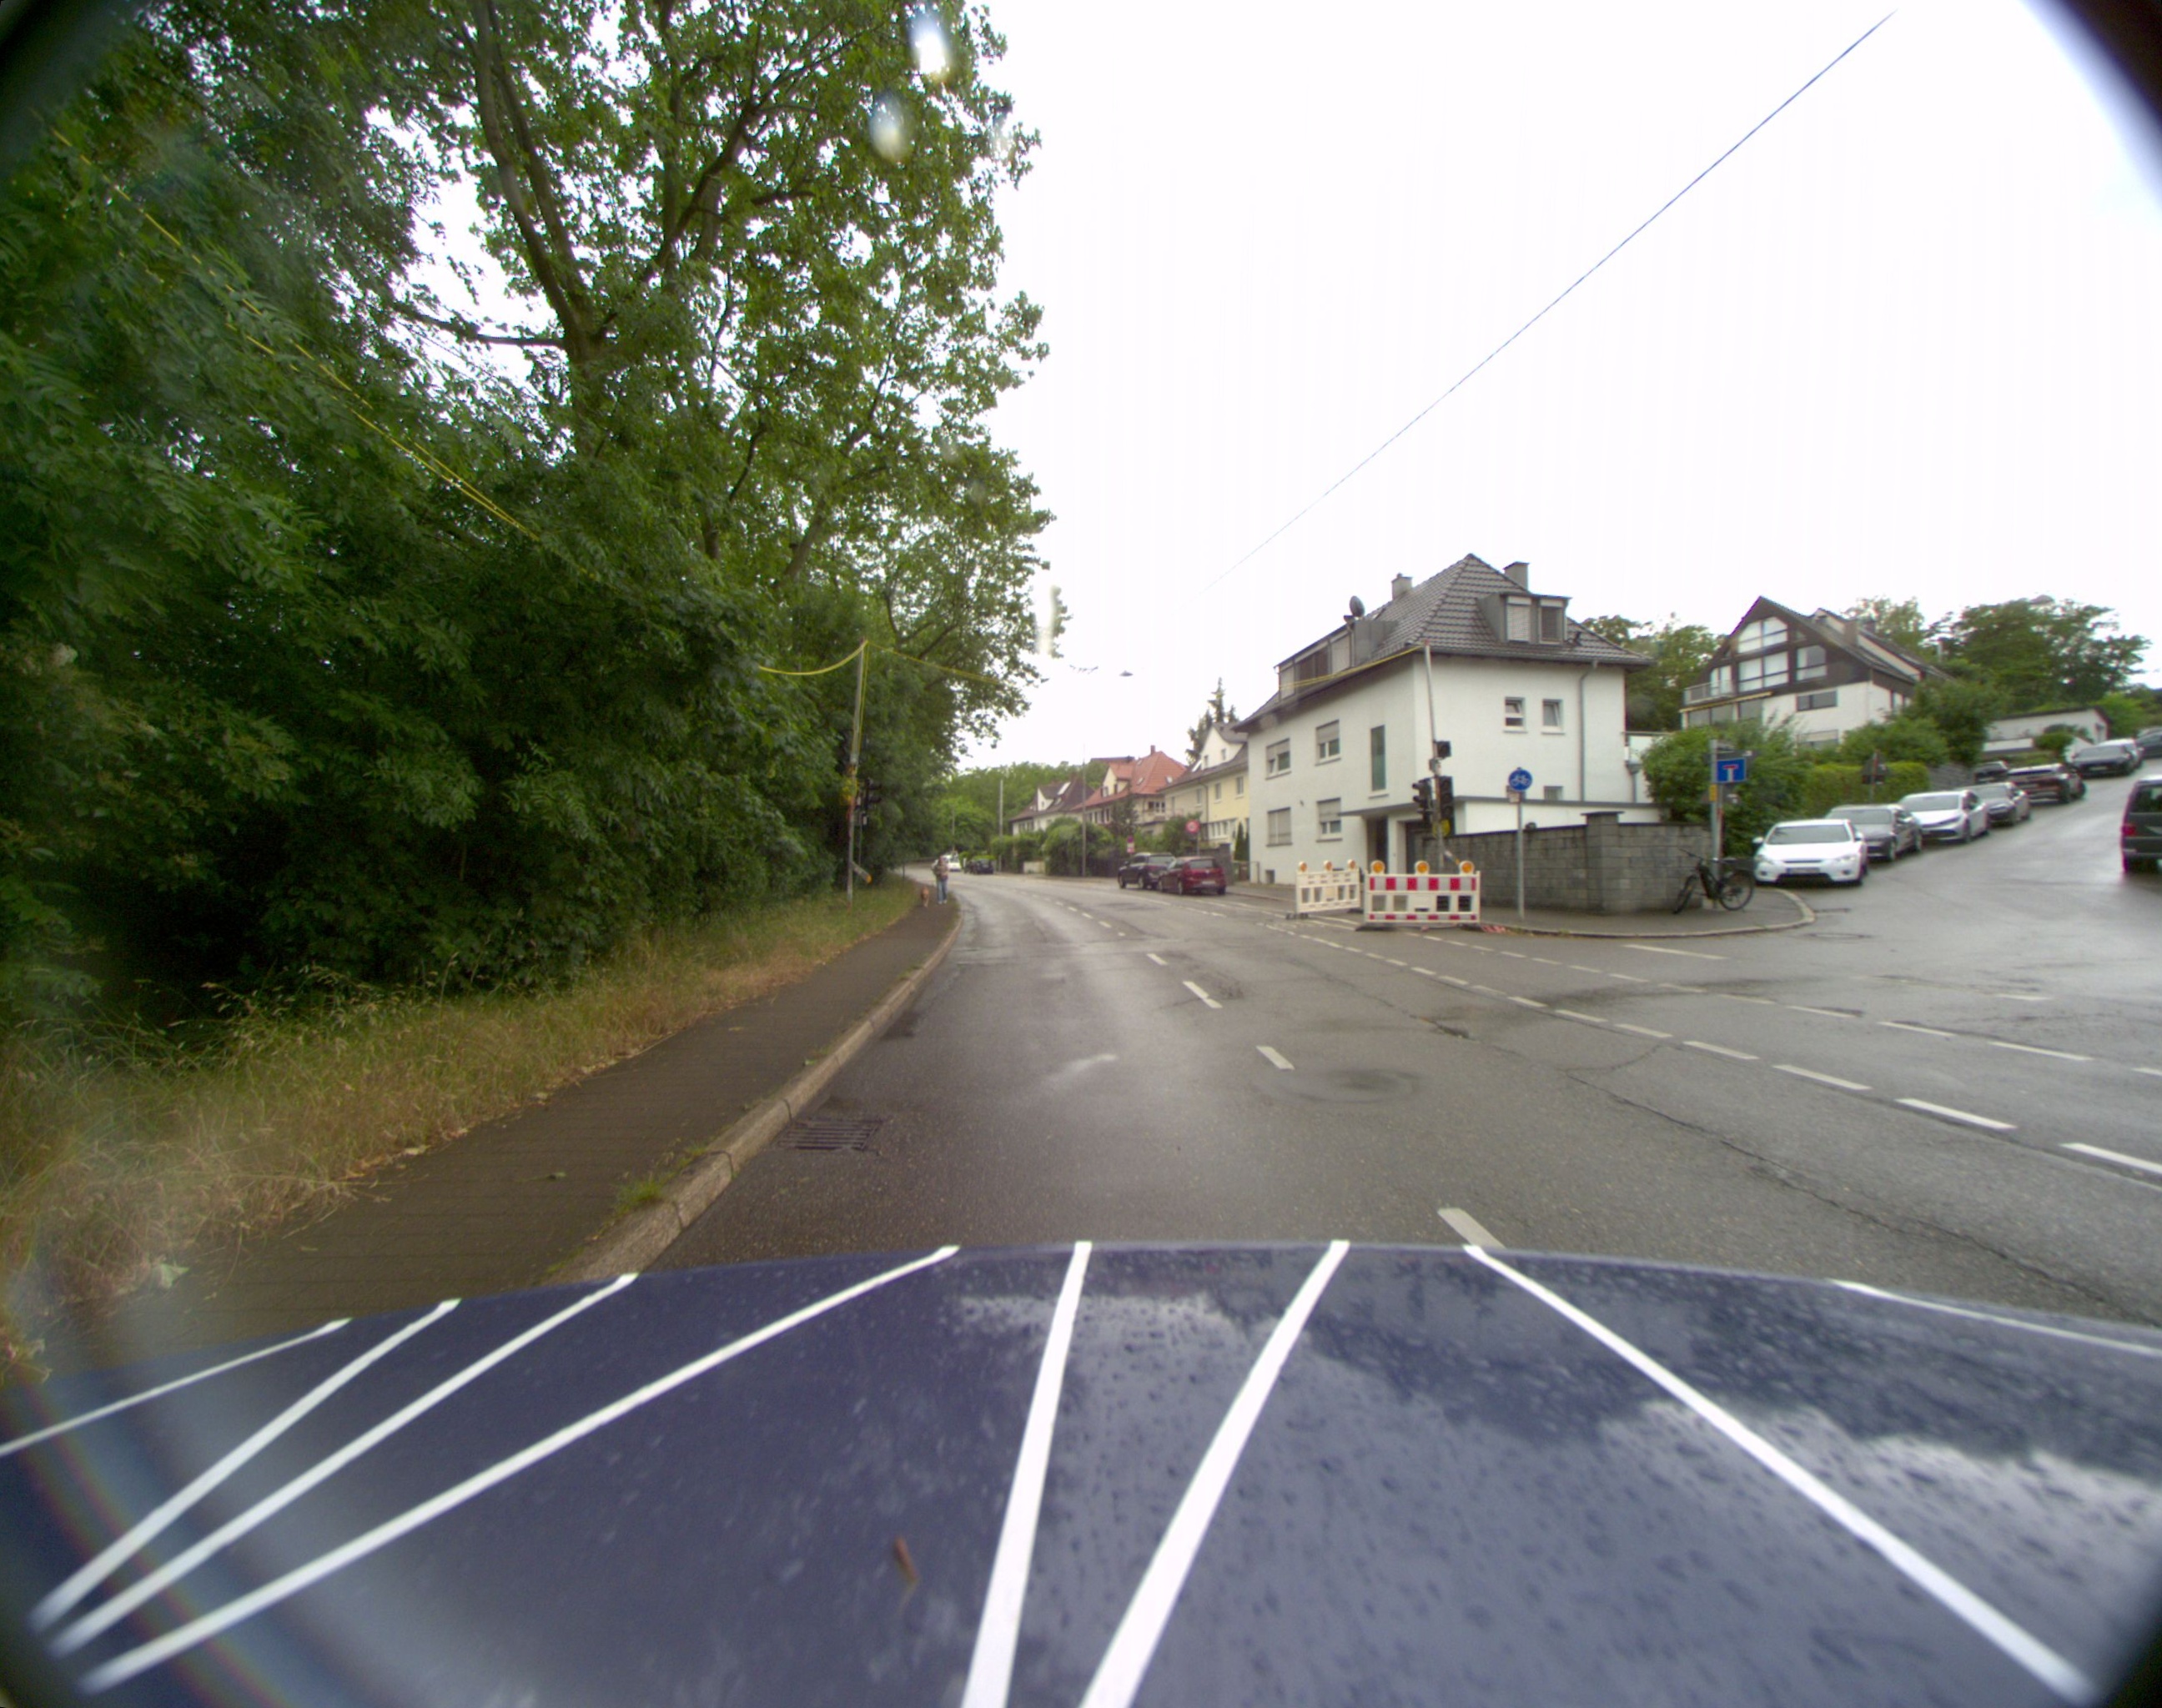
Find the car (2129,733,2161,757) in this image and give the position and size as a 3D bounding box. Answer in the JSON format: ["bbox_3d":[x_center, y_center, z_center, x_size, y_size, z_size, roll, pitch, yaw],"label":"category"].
[{"bbox_3d":[68.321,-6.941,47.701,1.286,1.310,2.945,-3,1,-36],"label":"car"}]

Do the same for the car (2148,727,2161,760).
[{"bbox_3d":[72.461,-7.451,48.985,2.003,2.000,3.993,-2,-4,-32],"label":"car"}]

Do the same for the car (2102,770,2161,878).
[{"bbox_3d":[23.882,-0.754,16.261,4.497,2.003,1.996,-7,3,-31],"label":"car"}]

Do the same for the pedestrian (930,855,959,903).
[{"bbox_3d":[-4.406,0.791,24.517,0.735,1.490,0.785,-3,1,-1],"label":"pedestrian"}]

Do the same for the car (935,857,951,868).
[{"bbox_3d":[-18.749,1.137,103.009,1.691,1.419,3.770,-2,0,-17],"label":"car"}]

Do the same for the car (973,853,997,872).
[{"bbox_3d":[-9.613,0.846,75.953,1.882,1.814,4.121,-2,0,-14],"label":"car"}]

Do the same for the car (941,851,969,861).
[{"bbox_3d":[-22.300,0.345,134.910,1.994,1.772,4.632,-1,0,42],"label":"car"}]

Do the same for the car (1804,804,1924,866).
[{"bbox_3d":[22.463,-0.560,21.758,3.910,1.380,1.719,-7,3,-34],"label":"car"}]

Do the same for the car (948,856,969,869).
[{"bbox_3d":[-15.241,1.076,94.173,2.071,1.477,4.556,-2,0,-16],"label":"car"}]

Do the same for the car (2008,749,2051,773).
[{"bbox_3d":[57.236,-5.641,45.868,3.656,1.205,1.577,-7,3,-38],"label":"car"}]

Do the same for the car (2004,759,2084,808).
[{"bbox_3d":[40.717,-2.986,32.113,4.004,1.617,1.638,-8,4,-32],"label":"car"}]

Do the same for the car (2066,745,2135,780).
[{"bbox_3d":[54.812,-4.882,40.843,4.034,1.511,1.786,-2,0,-31],"label":"car"}]

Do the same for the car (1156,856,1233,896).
[{"bbox_3d":[4.381,0.817,29.904,1.787,1.423,3.844,-2,0,-10],"label":"car"}]

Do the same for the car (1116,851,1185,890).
[{"bbox_3d":[3.128,0.732,35.032,1.798,1.630,4.150,-1,0,-15],"label":"car"}]

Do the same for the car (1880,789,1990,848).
[{"bbox_3d":[27.268,-1.155,24.231,3.951,1.462,1.755,-7,3,-33],"label":"car"}]

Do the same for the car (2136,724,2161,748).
[{"bbox_3d":[81.114,-8.871,55.963,1.754,1.508,3.961,-3,1,-35],"label":"car"}]

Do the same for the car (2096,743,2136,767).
[{"bbox_3d":[59.834,-5.745,43.900,2.988,1.191,1.305,-6,3,-35],"label":"car"}]

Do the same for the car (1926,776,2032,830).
[{"bbox_3d":[32.325,-1.834,27.334,4.111,1.430,1.921,-9,4,-33],"label":"car"}]

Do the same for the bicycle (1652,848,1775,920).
[{"bbox_3d":[11.587,0.535,13.934,2.006,1.232,0.510,-2,3,-8],"label":"bicycle"}]

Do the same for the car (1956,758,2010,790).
[{"bbox_3d":[52.864,-4.652,44.519,4.020,1.545,1.812,-3,1,-37],"label":"car"}]

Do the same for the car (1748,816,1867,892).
[{"bbox_3d":[17.776,-0.050,18.536,4.126,1.455,1.849,-7,4,-43],"label":"car"}]
